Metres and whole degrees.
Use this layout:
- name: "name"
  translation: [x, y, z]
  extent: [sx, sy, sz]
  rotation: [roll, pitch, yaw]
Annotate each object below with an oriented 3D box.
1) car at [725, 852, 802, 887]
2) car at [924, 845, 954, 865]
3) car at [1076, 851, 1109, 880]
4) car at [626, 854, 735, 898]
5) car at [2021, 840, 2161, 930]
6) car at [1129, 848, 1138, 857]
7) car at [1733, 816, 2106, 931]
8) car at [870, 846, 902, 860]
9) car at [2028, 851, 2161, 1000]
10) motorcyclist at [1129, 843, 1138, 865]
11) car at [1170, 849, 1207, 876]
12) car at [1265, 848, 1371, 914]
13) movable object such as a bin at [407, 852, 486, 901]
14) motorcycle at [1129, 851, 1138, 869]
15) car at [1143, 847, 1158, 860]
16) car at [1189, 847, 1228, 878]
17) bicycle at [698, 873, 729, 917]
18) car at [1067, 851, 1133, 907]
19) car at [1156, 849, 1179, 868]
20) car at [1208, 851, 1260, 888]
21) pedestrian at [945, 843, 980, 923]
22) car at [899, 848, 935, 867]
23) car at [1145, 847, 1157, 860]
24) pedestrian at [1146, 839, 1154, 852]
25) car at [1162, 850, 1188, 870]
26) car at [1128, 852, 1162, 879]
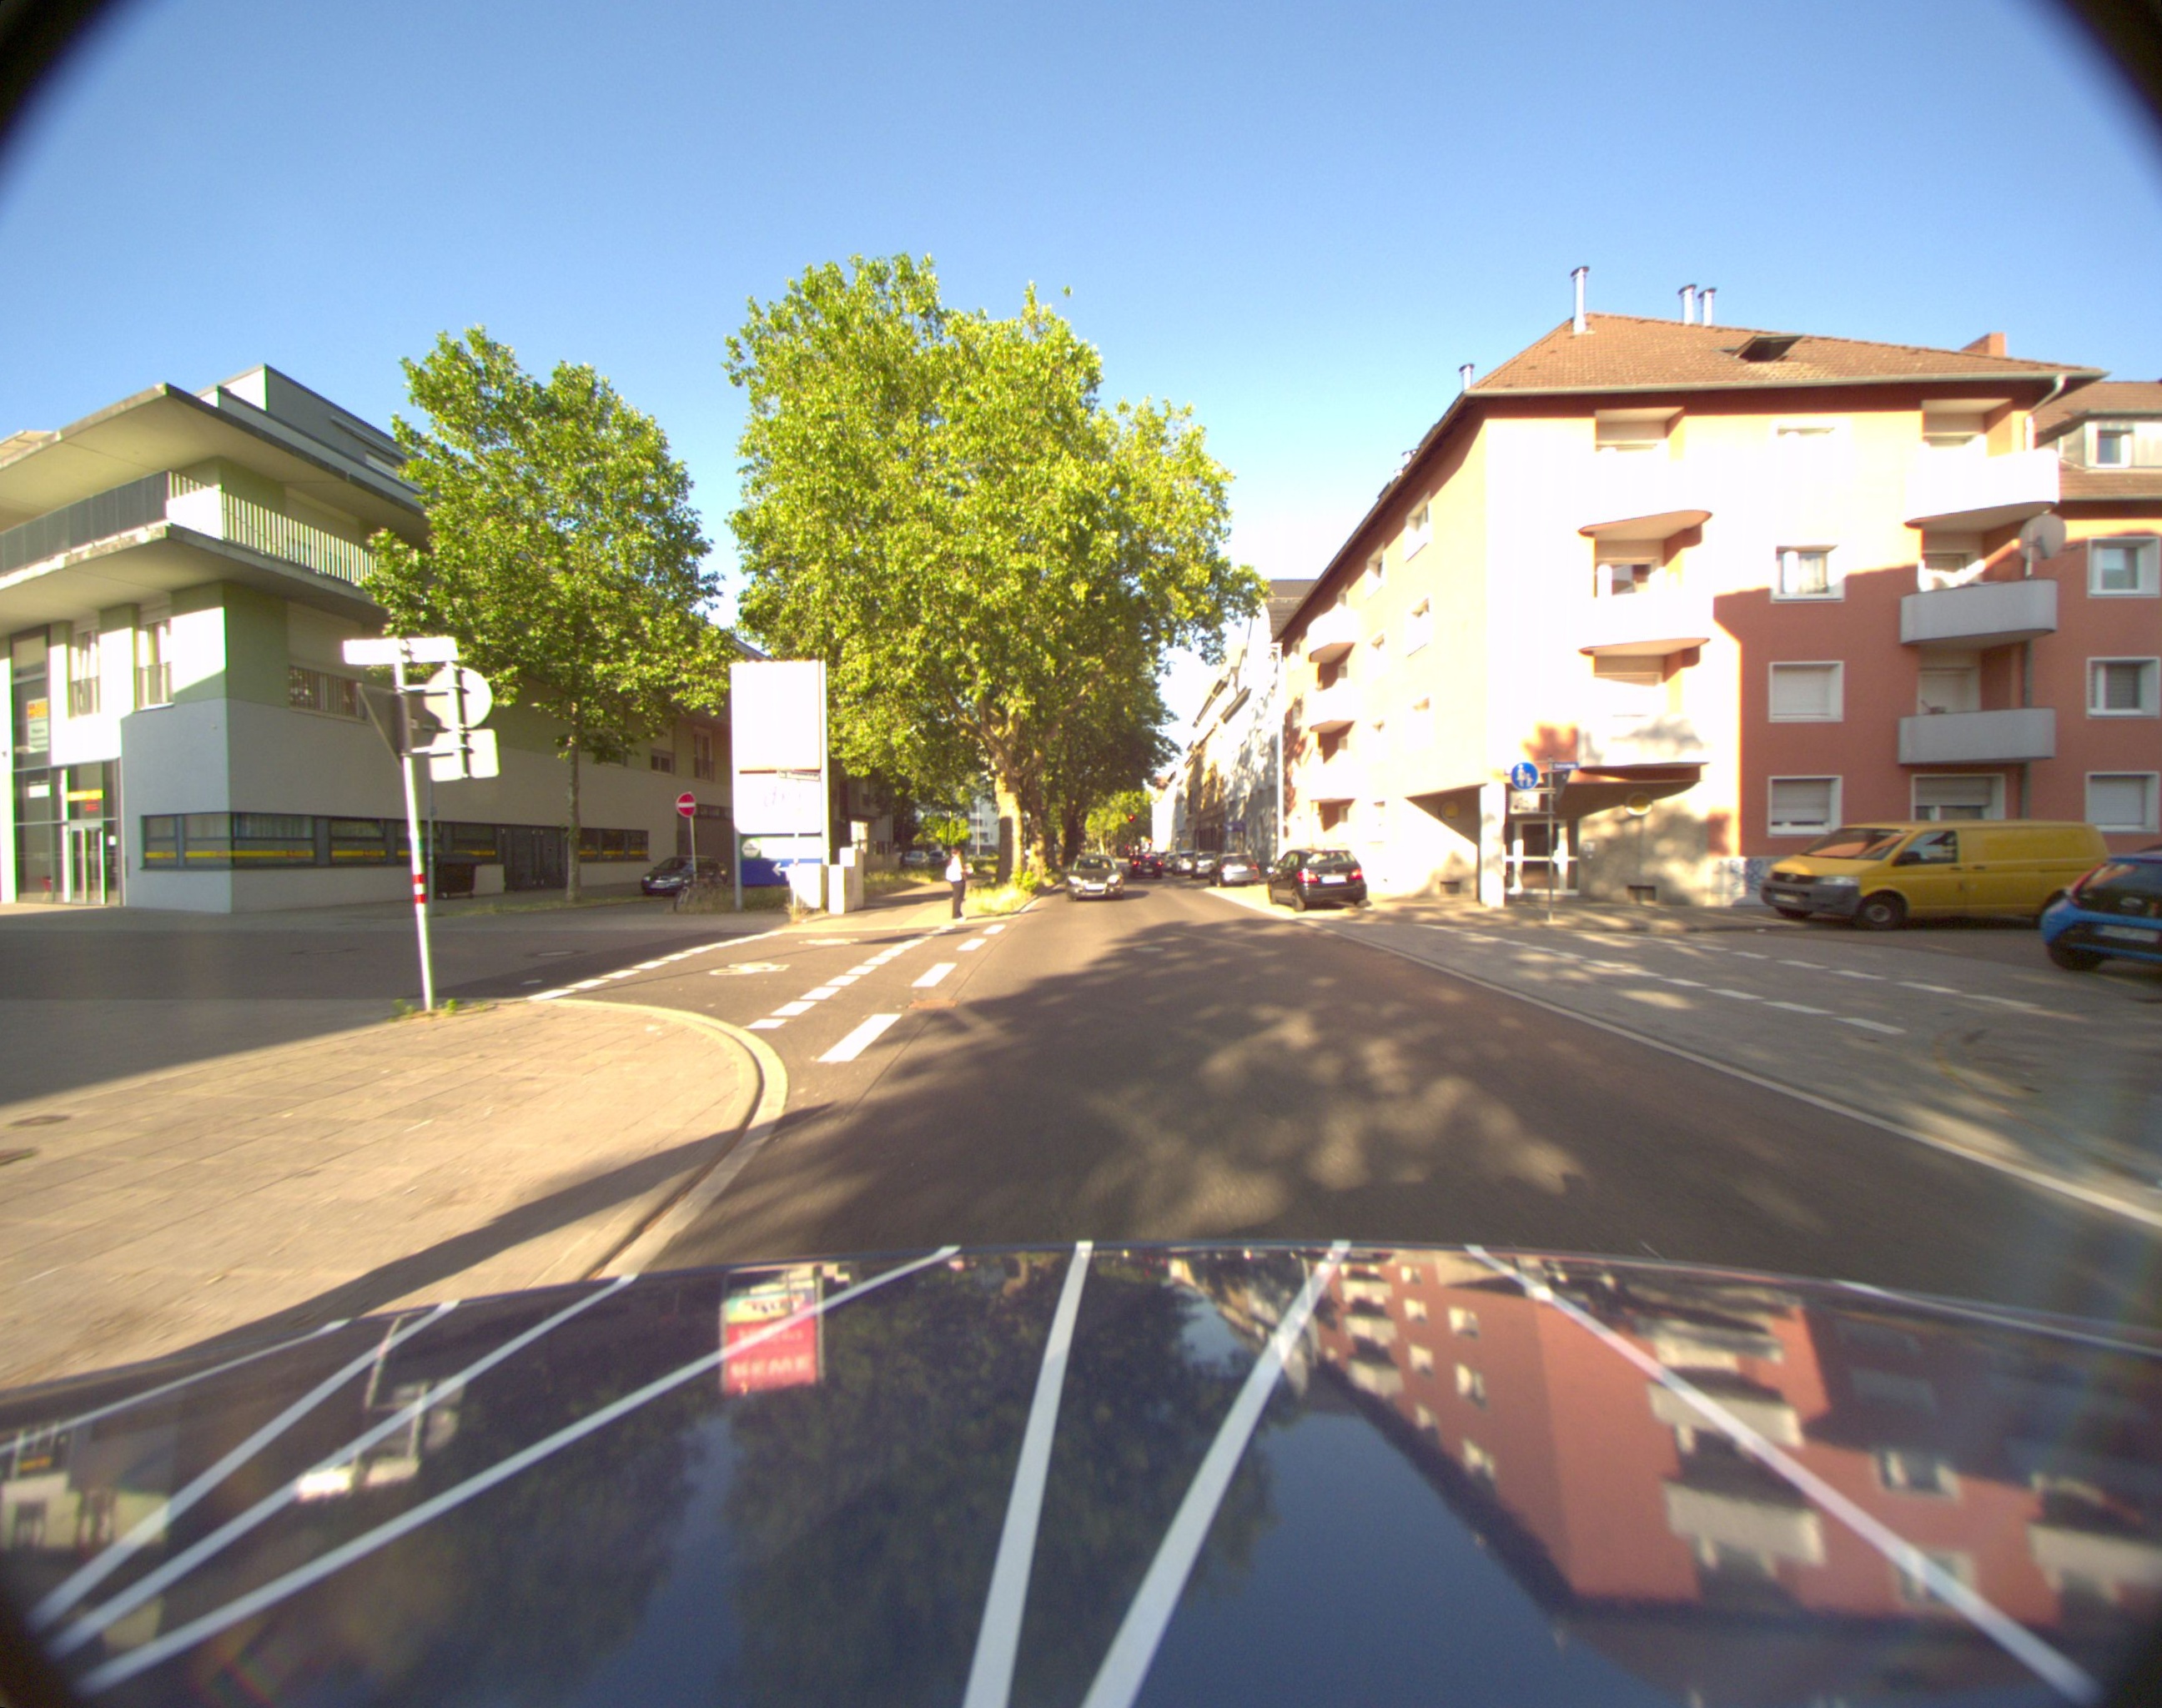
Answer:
- name: "car"
  translation: [-14.562, 0.670, 35.109]
  extent: [1.863, 1.544, 3.759]
  rotation: [0, 0, 2]
- name: "car"
  translation: [-13.228, 0.078, 71.048]
  extent: [1.909, 1.761, 4.320]
  rotation: [0, 0, 2]
- name: "car"
  translation: [0.658, 0.591, 40.495]
  extent: [1.654, 1.445, 3.535]
  rotation: [0, 0, 2]
- name: "car"
  translation: [-14.773, 0.765, 28.292]
  extent: [1.864, 1.460, 4.123]
  rotation: [0, 0, 0]
- name: "car"
  translation: [21.374, 0.536, 14.434]
  extent: [4.459, 1.616, 1.920]
  rotation: [0, 1, 3]
- name: "car"
  translation: [11.105, -0.293, 160.834]
  extent: [1.897, 1.782, 4.001]
  rotation: [0, 1, 4]
- name: "car"
  translation: [15.616, 0.342, 14.393]
  extent: [4.757, 2.002, 1.919]
  rotation: [0, 1, 3]
- name: "car"
  translation: [-21.141, -0.089, 82.666]
  extent: [1.672, 1.446, 3.564]
  rotation: [0, -3, 18]
- name: "car"
  translation: [13.316, 0.754, 8.243]
  extent: [3.792, 1.558, 1.748]
  rotation: [0, 1, 2]
- name: "motorcyclist"
  translation: [3.757, -0.009, 54.764]
  extent: [0.587, 1.596, 0.831]
  rotation: [0, 1, 1]
- name: "car"
  translation: [6.984, 0.509, 49.644]
  extent: [1.912, 1.632, 4.577]
  rotation: [-2, 0, 3]
- name: "car"
  translation: [6.143, 0.634, 20.112]
  extent: [1.681, 1.515, 4.021]
  rotation: [-2, 0, 3]
- name: "movable object such as a bin"
  translation: [-19.399, 0.665, 23.260]
  extent: [1.195, 1.454, 1.408]
  rotation: [0, 1, 13]
- name: "motorcycle"
  translation: [3.786, 0.409, 54.725]
  extent: [0.548, 1.234, 2.264]
  rotation: [2, 1, 1]
- name: "car"
  translation: [9.646, -0.094, 105.661]
  extent: [1.910, 1.663, 4.494]
  rotation: [-2, 0, 6]
- name: "car"
  translation: [7.282, 0.467, 43.799]
  extent: [1.682, 1.632, 3.985]
  rotation: [-2, 0, 3]
- name: "bicycle"
  translation: [-9.032, 0.987, 18.706]
  extent: [0.384, 0.998, 1.484]
  rotation: [0, 1, -15]
- name: "car"
  translation: [0.648, 0.720, 24.134]
  extent: [1.844, 1.536, 4.524]
  rotation: [-2, 0, 3]
- name: "car"
  translation: [7.514, 0.380, 66.539]
  extent: [1.681, 1.575, 4.200]
  rotation: [-2, 0, 3]
- name: "car"
  translation: [6.647, 0.638, 33.341]
  extent: [1.681, 1.478, 3.601]
  rotation: [-2, 0, 3]
- name: "pedestrian"
  translation: [-2.691, 0.644, 17.170]
  extent: [0.664, 1.751, 0.769]
  rotation: [1, 1, -16]
- name: "car"
  translation: [-13.596, 0.275, 63.236]
  extent: [1.863, 1.534, 4.320]
  rotation: [0, 0, 2]
- name: "car"
  translation: [10.218, -0.140, 111.059]
  extent: [1.668, 1.808, 4.005]
  rotation: [-2, 0, 4]
- name: "pedestrian"
  translation: [8.362, -1.069, 92.153]
  extent: [0.865, 1.561, 0.706]
  rotation: [0, 1, 6]
- name: "car"
  translation: [7.460, 0.437, 60.426]
  extent: [1.681, 1.488, 3.872]
  rotation: [-2, 0, 3]
- name: "car"
  translation: [3.817, 0.656, 45.621]
  extent: [1.775, 1.470, 4.322]
  rotation: [-2, 0, 2]
